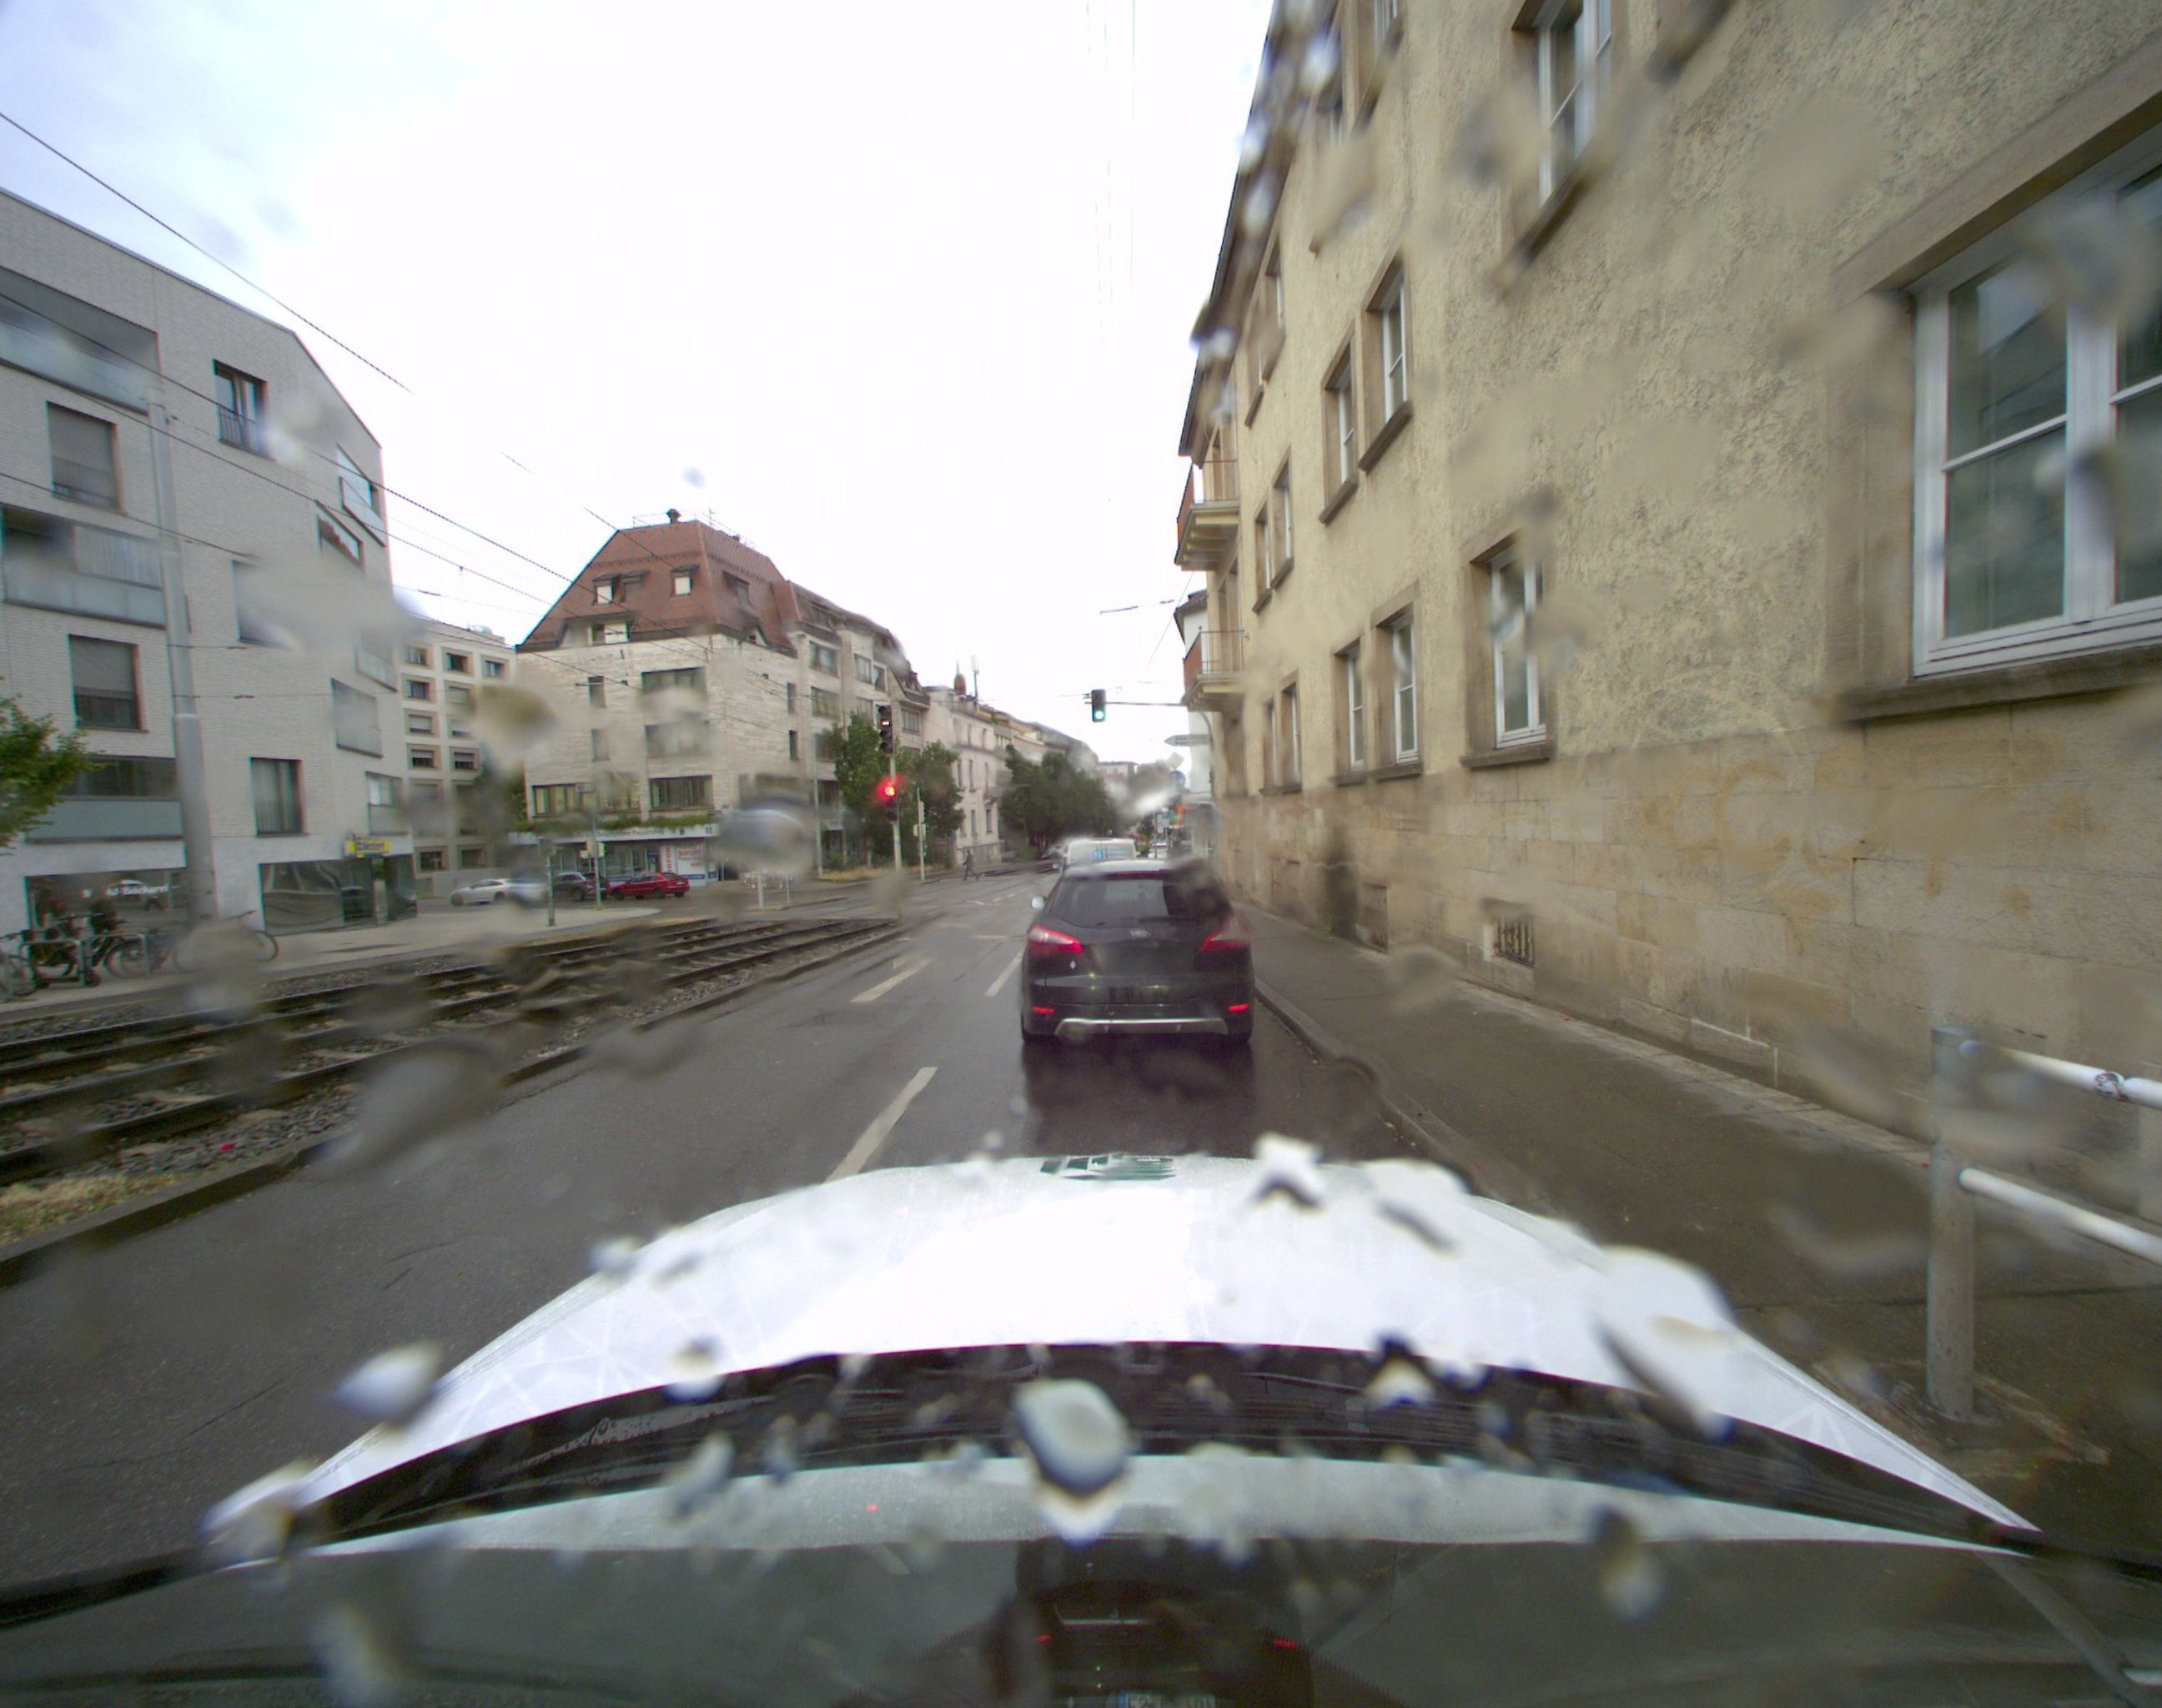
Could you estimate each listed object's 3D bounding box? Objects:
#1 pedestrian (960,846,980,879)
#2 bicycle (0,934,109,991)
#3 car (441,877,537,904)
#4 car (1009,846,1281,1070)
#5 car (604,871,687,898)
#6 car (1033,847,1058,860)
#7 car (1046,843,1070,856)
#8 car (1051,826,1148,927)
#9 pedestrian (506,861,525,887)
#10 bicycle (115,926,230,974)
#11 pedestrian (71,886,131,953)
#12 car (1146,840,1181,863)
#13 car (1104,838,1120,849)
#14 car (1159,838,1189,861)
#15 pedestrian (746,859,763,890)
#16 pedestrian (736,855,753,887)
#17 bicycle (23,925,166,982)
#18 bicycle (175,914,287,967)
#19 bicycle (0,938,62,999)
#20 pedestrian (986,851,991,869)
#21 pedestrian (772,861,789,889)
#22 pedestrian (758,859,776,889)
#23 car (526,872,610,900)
[{"bbox_3d":[-6.170,0.487,45.360,0.926,1.830,0.960,0,-1,4],"label":"pedestrian"},{"bbox_3d":[-18.066,1.869,14.096,1.782,0.918,0.386,0,-1,-8],"label":"bicycle"},{"bbox_3d":[-32.634,2.015,44.901,4.458,1.318,1.598,-2,-1,11],"label":"car"},{"bbox_3d":[0.495,0.717,7.552,1.836,1.507,4.001,-1,0,1],"label":"car"},{"bbox_3d":[-23.074,1.608,43.216,3.668,1.318,1.599,-2,-1,12],"label":"car"},{"bbox_3d":[-4.026,-0.063,93.995,1.682,1.377,4.736,-2,-1,12],"label":"car"},{"bbox_3d":[-2.814,-0.544,99.909,1.843,1.548,4.736,-2,0,12],"label":"car"},{"bbox_3d":[0.414,0.474,19.059,1.981,2.060,4.645,-1,0,1],"label":"car"},{"bbox_3d":[-34.222,1.228,49.281,0.677,1.549,0.651,0,-1,10],"label":"pedestrian"},{"bbox_3d":[-17.852,1.882,16.009,1.778,0.876,0.387,0,-1,-1],"label":"bicycle"},{"bbox_3d":[-24.330,1.604,20.227,0.650,1.569,0.770,-2,0,-26],"label":"pedestrian"},{"bbox_3d":[5.707,-0.165,55.994,1.789,1.455,4.602,-3,0,12],"label":"car"},{"bbox_3d":[5.339,-1.795,139.511,1.843,1.637,4.952,-2,0,12],"label":"car"},{"bbox_3d":[7.188,-0.330,62.584,1.833,1.632,4.602,-2,0,12],"label":"car"},{"bbox_3d":[-18.571,1.179,46.366,0.643,1.749,0.686,0,-1,10],"label":"pedestrian"},{"bbox_3d":[-19.589,0.964,47.386,0.643,1.842,0.686,0,-1,10],"label":"pedestrian"},{"bbox_3d":[-18.450,1.850,15.256,1.787,0.917,0.385,-1,0,-16],"label":"bicycle"},{"bbox_3d":[-17.964,1.820,17.228,1.779,0.980,0.440,-2,0,-3],"label":"bicycle"},{"bbox_3d":[-17.763,1.879,13.238,1.779,0.918,0.387,-2,0,-3],"label":"bicycle"},{"bbox_3d":[-8.924,0.586,78.596,0.466,1.652,0.582,0,-1,0],"label":"pedestrian"},{"bbox_3d":[-17.053,1.199,46.252,0.643,1.549,0.686,0,-1,10],"label":"pedestrian"},{"bbox_3d":[-17.809,1.133,46.186,0.643,1.724,0.686,0,-1,10],"label":"pedestrian"},{"bbox_3d":[-27.767,1.722,44.126,3.670,1.318,1.598,-2,-1,11],"label":"car"}]
